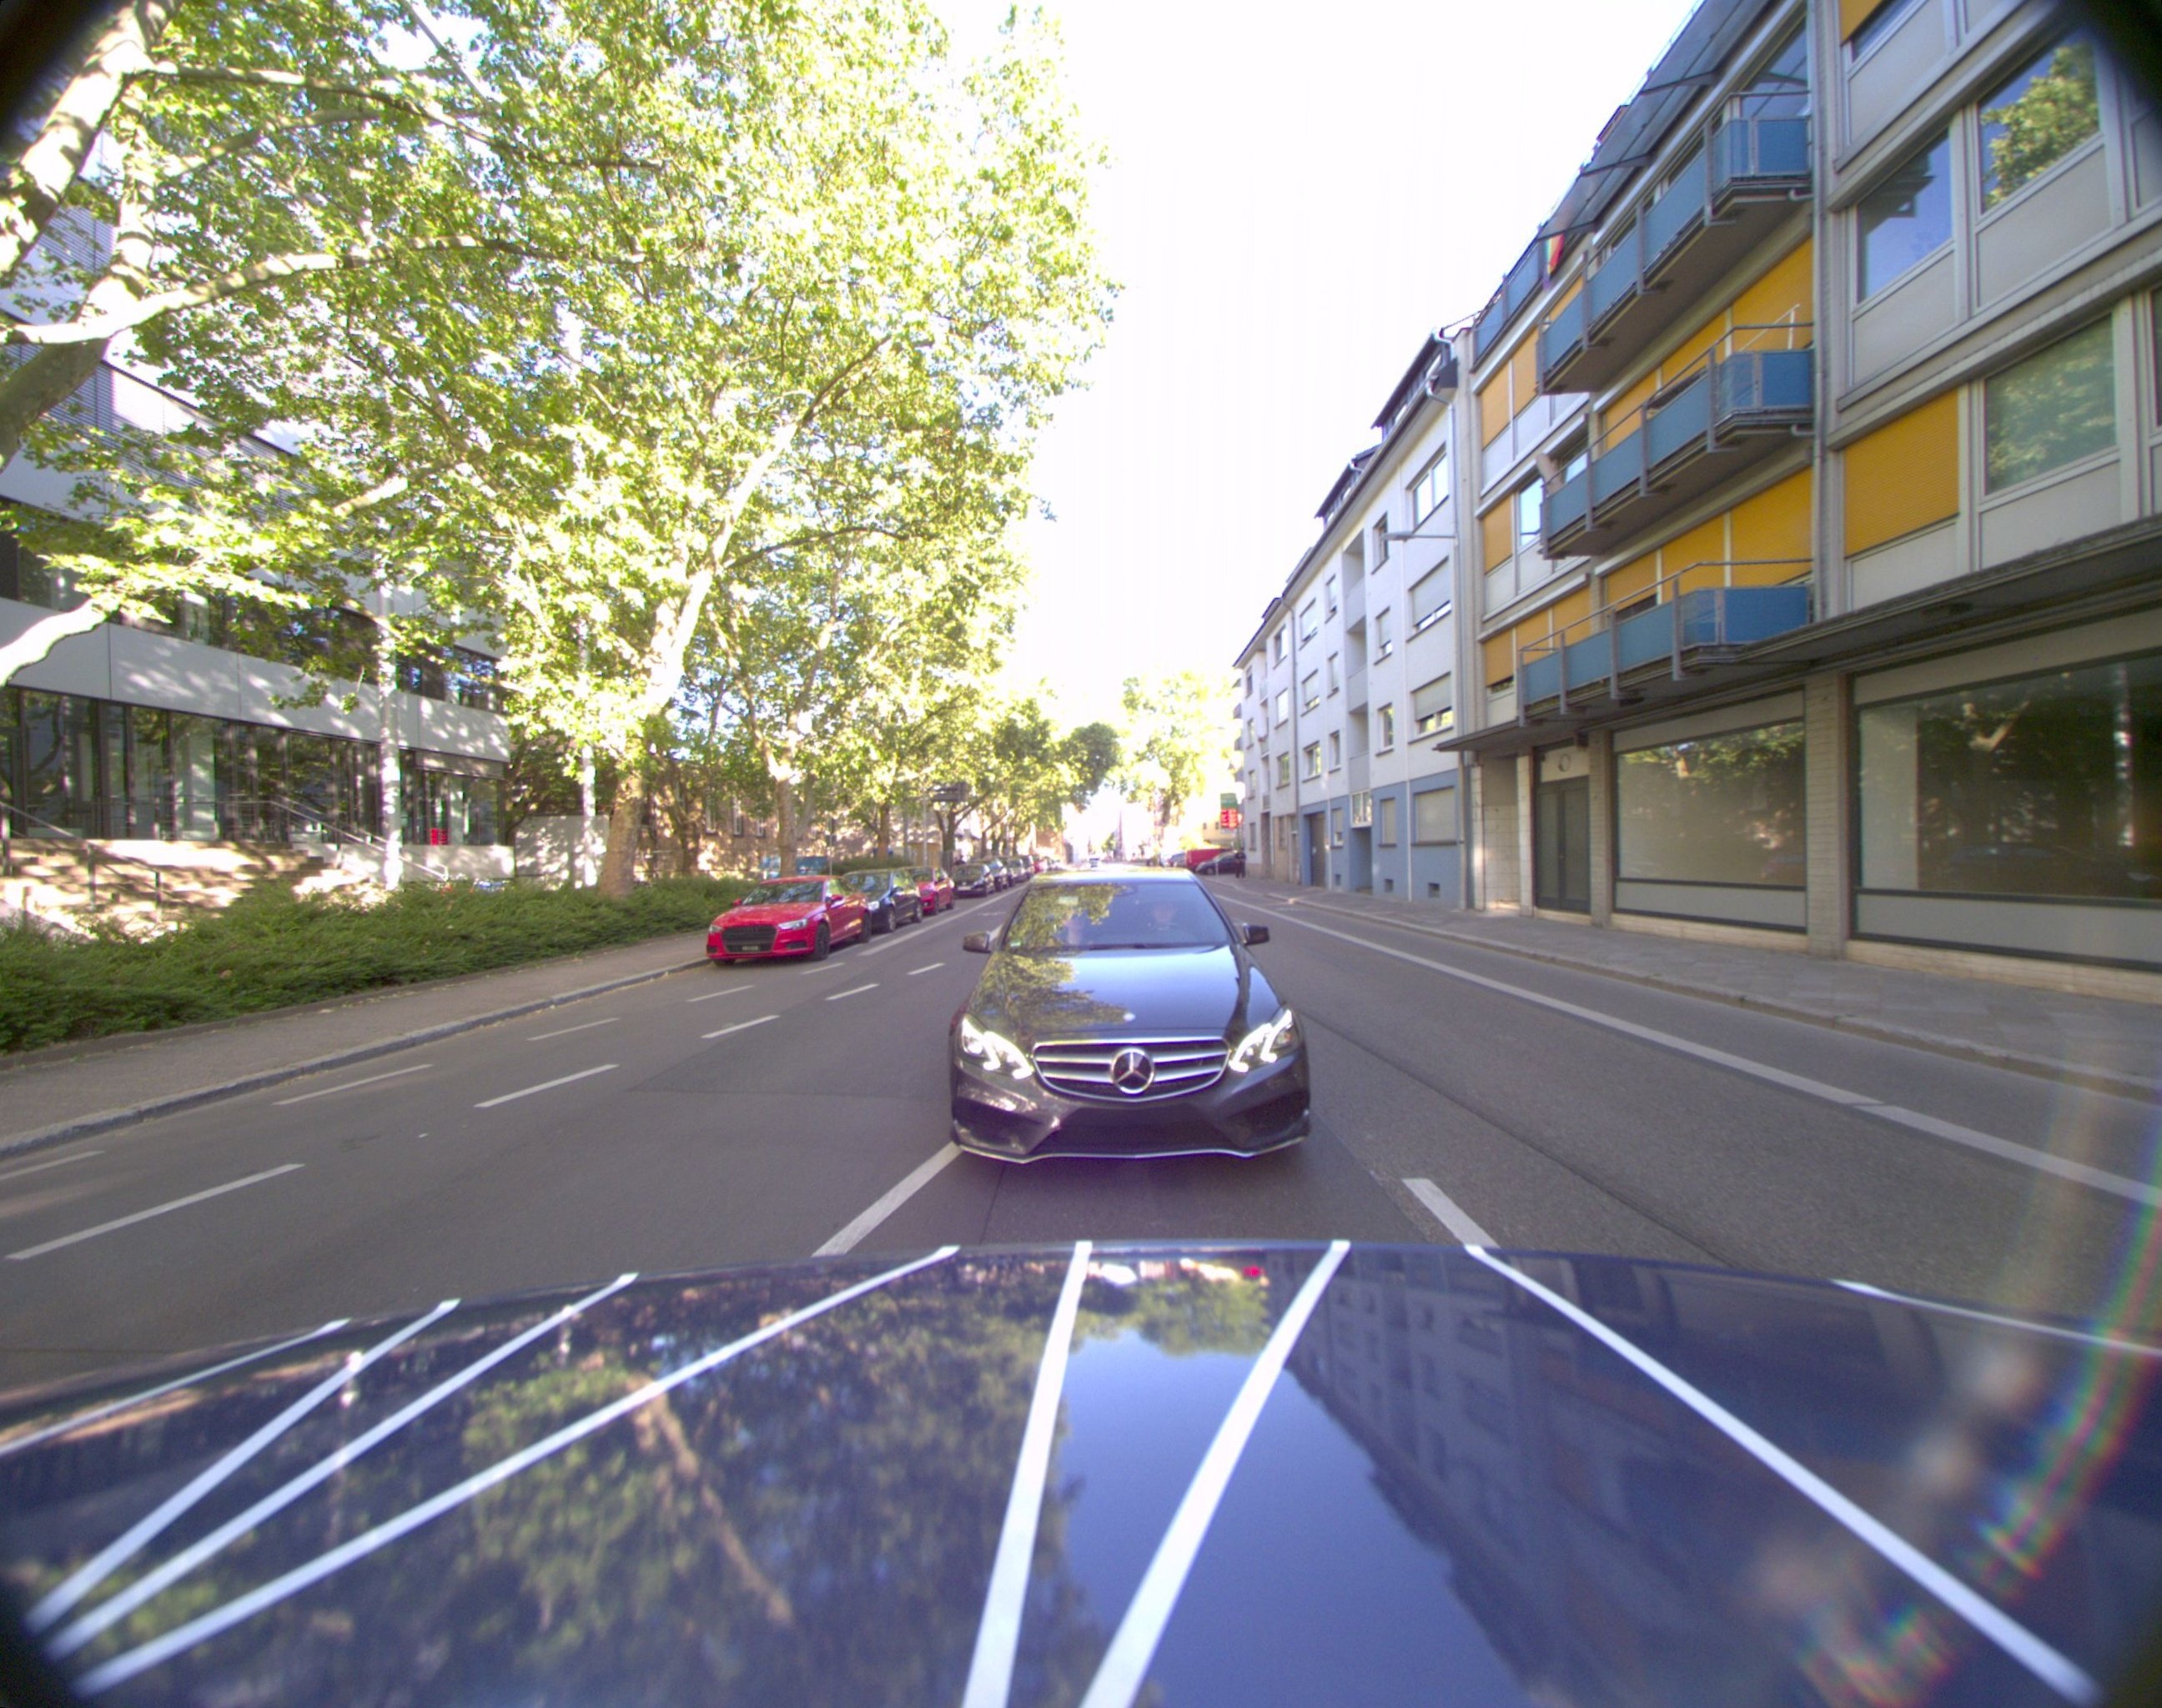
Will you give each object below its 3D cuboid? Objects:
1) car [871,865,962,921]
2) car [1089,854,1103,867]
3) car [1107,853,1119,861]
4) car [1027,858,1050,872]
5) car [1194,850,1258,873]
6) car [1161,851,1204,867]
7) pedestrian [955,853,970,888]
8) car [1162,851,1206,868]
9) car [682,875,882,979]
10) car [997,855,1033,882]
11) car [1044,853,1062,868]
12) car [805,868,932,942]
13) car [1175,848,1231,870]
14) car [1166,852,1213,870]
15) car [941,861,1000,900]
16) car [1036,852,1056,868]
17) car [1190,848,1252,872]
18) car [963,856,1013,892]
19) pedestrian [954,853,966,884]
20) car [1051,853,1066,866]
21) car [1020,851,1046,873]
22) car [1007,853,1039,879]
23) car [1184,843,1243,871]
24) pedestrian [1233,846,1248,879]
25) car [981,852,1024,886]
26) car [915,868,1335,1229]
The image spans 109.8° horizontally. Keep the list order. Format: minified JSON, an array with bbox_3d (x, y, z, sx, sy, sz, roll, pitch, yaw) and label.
[{"bbox_3d":[-5.041,1.134,23.827,1.835,1.459,4.168,-2,0,1],"label":"car"},{"bbox_3d":[1.848,0.772,95.559,1.726,1.530,4.000,-1,0,1],"label":"car"},{"bbox_3d":[7.335,0.692,173.994,1.996,1.729,4.004,-1,0,16],"label":"car"},{"bbox_3d":[-3.988,1.027,71.774,1.835,1.220,4.259,-2,0,1],"label":"car"},{"bbox_3d":[10.402,0.516,54.734,4.255,1.392,1.653,-4,0,1],"label":"car"},{"bbox_3d":[10.776,0.513,80.601,4.255,1.461,1.653,-4,0,1],"label":"car"},{"bbox_3d":[-6.362,0.873,40.708,0.660,1.849,0.641,-2,1,1],"label":"pedestrian"},{"bbox_3d":[10.605,0.539,78.637,4.255,1.461,1.653,-4,0,1],"label":"car"},{"bbox_3d":[-5.128,1.177,13.757,1.835,1.396,4.247,-2,0,1],"label":"car"},{"bbox_3d":[-4.336,0.947,50.595,1.835,1.604,4.259,-2,0,1],"label":"car"},{"bbox_3d":[-3.409,0.788,92.829,1.835,1.667,4.259,-2,0,1],"label":"car"},{"bbox_3d":[-5.039,1.150,18.617,1.835,1.438,4.168,-2,0,1],"label":"car"},{"bbox_3d":[10.054,0.406,62.698,4.255,1.461,1.653,-4,0,1],"label":"car"},{"bbox_3d":[10.435,0.672,73.179,4.255,1.461,1.653,-4,0,1],"label":"car"},{"bbox_3d":[-4.744,1.104,33.164,1.835,1.459,4.168,-2,0,1],"label":"car"},{"bbox_3d":[-3.937,0.669,86.213,1.835,1.667,4.259,-2,0,1],"label":"car"},{"bbox_3d":[10.486,0.453,57.036,4.255,1.461,1.653,-4,0,1],"label":"car"},{"bbox_3d":[-4.595,0.965,38.061,1.835,1.596,4.161,-2,0,1],"label":"car"},{"bbox_3d":[-7.300,0.869,45.755,0.601,1.785,0.593,-2,1,0],"label":"pedestrian"},{"bbox_3d":[-3.044,0.687,102.936,1.835,1.667,4.259,-2,0,1],"label":"car"},{"bbox_3d":[-4.144,0.683,66.334,1.835,1.839,4.259,-2,0,1],"label":"car"},{"bbox_3d":[-4.178,0.813,55.626,1.835,1.750,4.259,-2,0,1],"label":"car"},{"bbox_3d":[10.417,0.221,60.116,4.255,1.907,1.818,-4,0,0],"label":"car"},{"bbox_3d":[8.285,0.431,39.399,0.612,1.685,0.655,-2,1,1],"label":"pedestrian"},{"bbox_3d":[-4.508,0.822,44.101,1.835,1.787,4.463,-2,0,1],"label":"car"},{"bbox_3d":[0.226,0.916,5.558,1.849,1.490,4.302,-1,0,1],"label":"car"}]
